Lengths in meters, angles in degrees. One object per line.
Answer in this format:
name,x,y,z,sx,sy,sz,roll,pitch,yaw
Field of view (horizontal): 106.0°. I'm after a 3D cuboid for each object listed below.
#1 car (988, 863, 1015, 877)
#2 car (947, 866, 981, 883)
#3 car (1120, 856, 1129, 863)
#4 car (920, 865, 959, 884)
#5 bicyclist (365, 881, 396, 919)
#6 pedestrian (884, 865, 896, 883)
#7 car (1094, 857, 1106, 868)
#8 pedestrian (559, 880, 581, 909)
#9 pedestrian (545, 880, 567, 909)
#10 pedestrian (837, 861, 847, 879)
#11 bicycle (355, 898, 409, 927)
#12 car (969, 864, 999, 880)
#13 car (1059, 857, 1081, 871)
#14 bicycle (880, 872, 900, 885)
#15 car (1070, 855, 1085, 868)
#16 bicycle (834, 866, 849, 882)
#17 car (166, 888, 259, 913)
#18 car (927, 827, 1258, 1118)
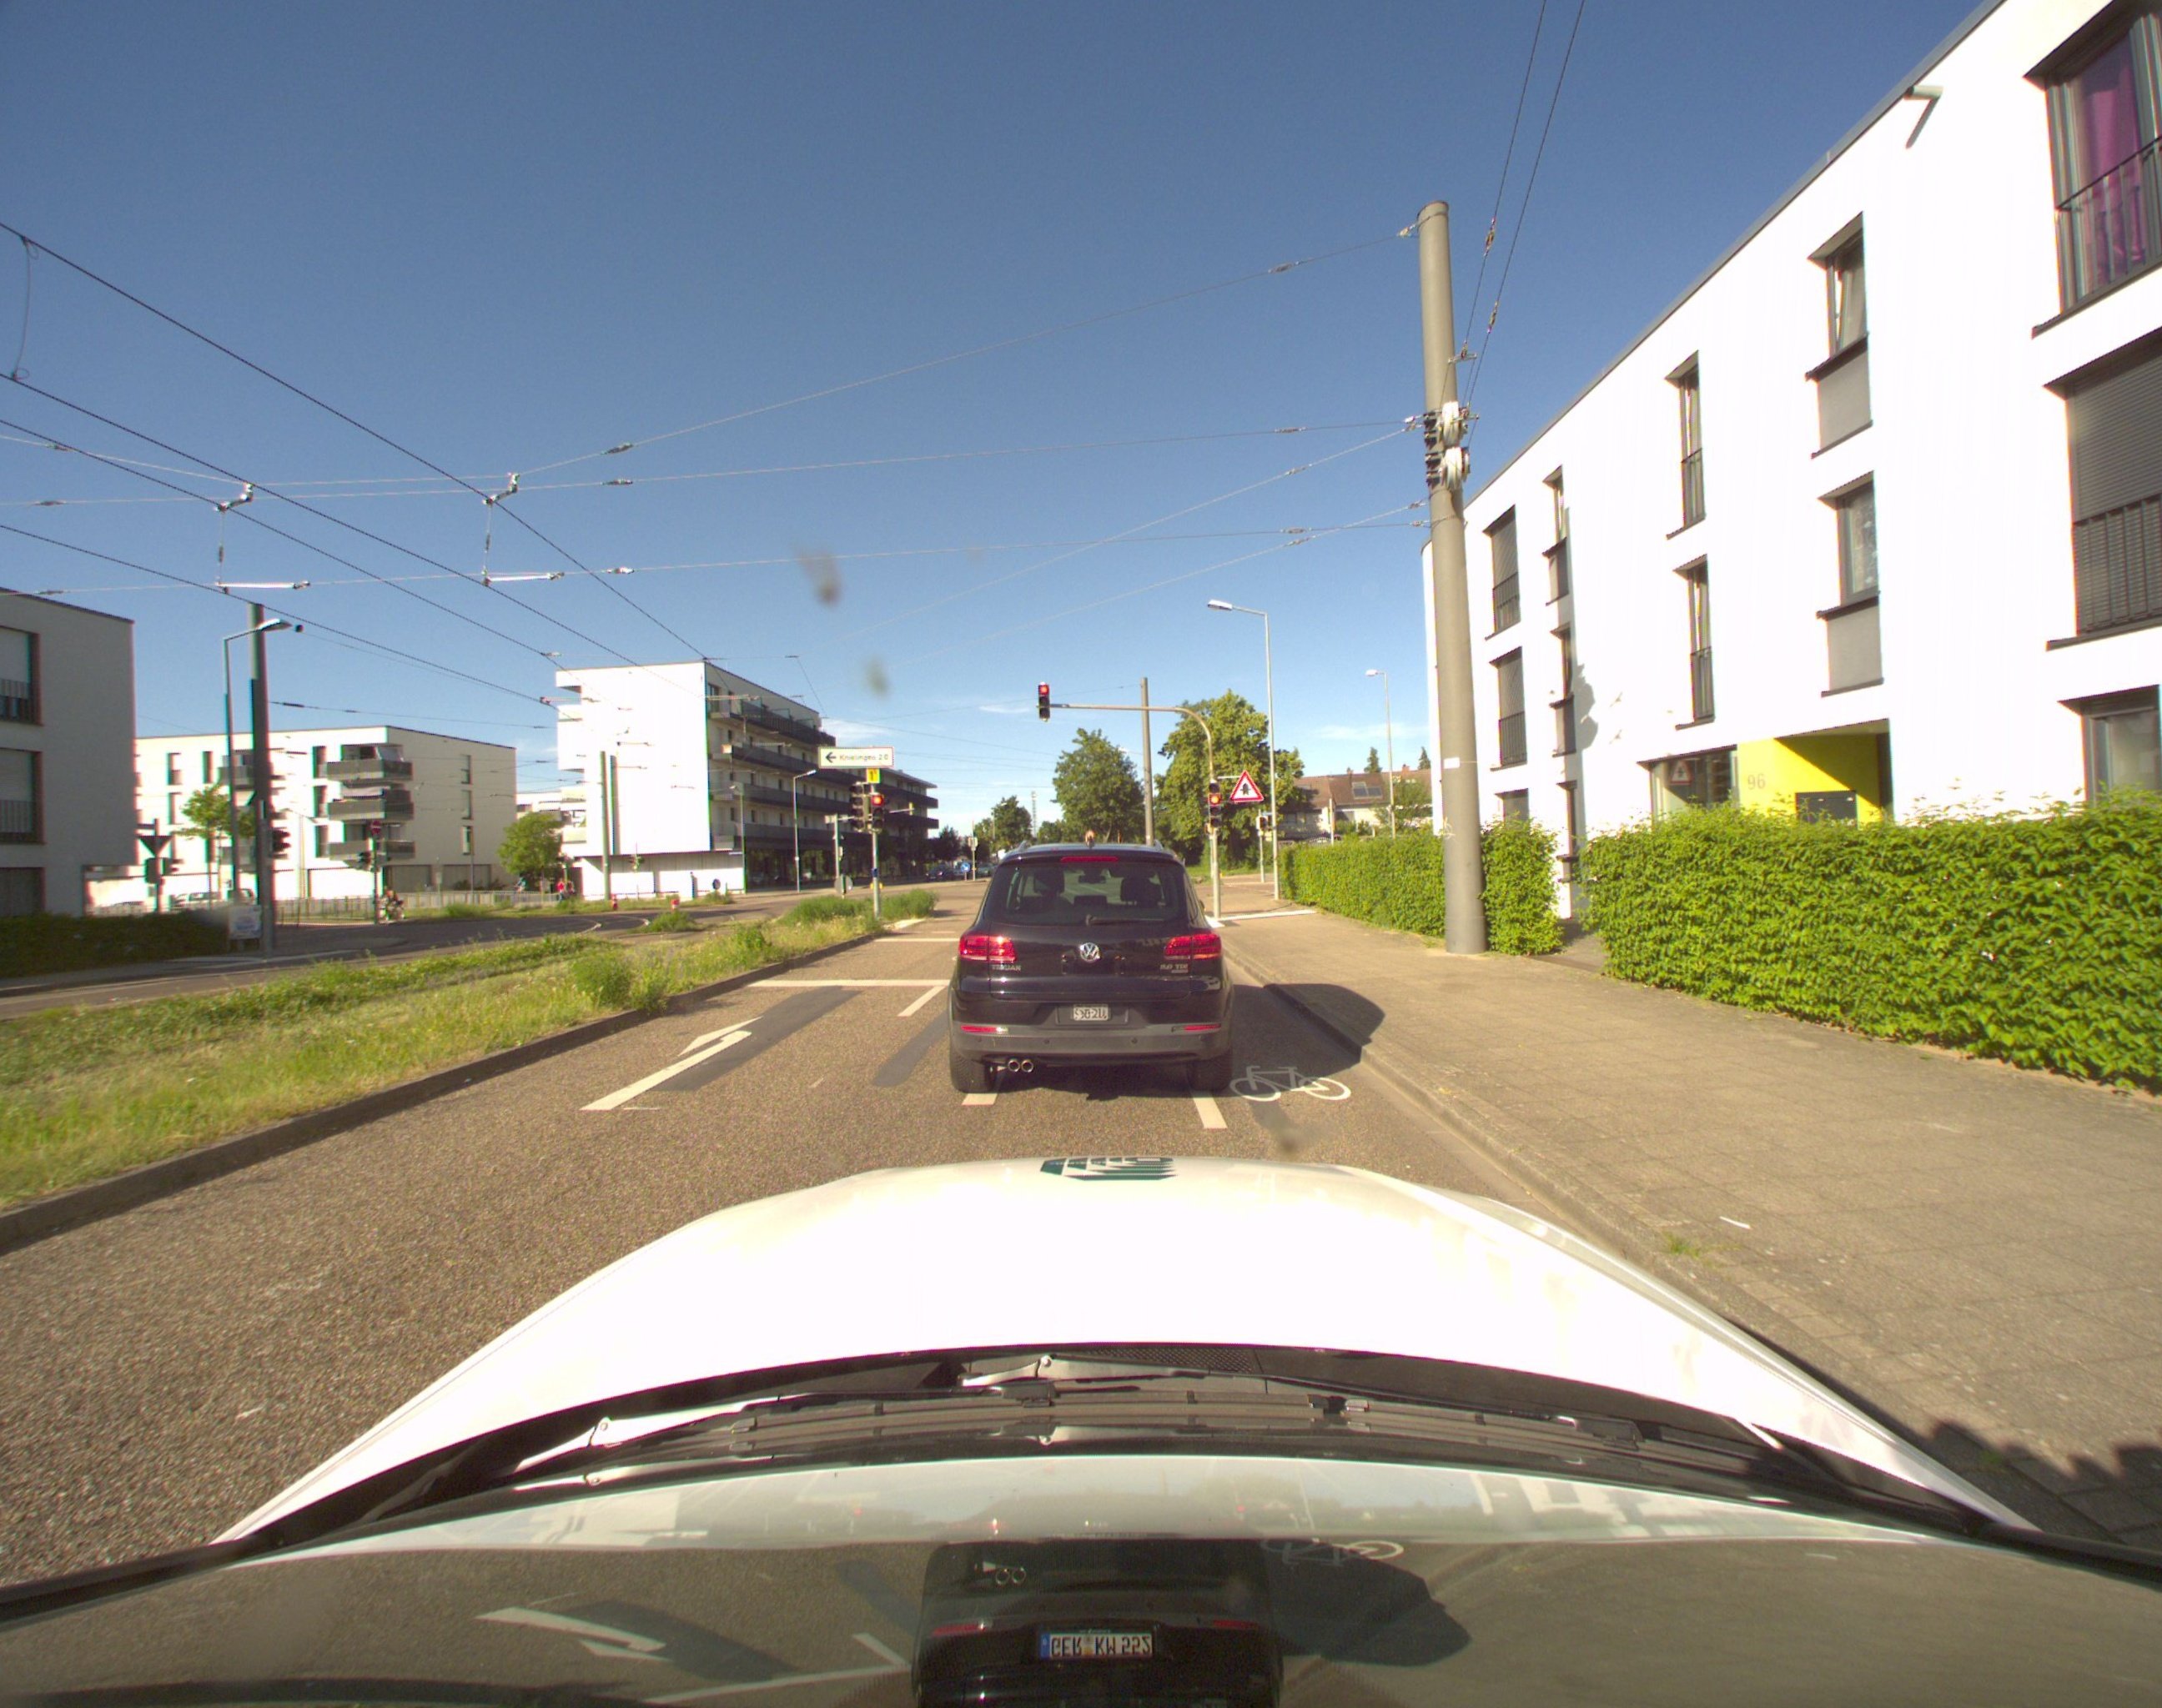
car,-8.879,1.759,91.437,1.981,1.574,4.350,-1,-1,9
car,-11.273,1.963,78.687,1.981,1.574,4.350,-1,-1,9
car,10.932,1.269,203.300,1.987,1.684,4.000,0,-1,0
car,-12.441,1.781,71.892,1.980,1.574,4.353,-1,-1,11
bicyclist,-30.421,1.986,35.377,0.781,1.614,0.640,0,-1,-5
pedestrian,-15.989,1.689,68.127,0.707,1.474,0.956,-1,-1,9
car,3.503,1.550,149.917,1.984,1.836,4.005,0,-1,5
pedestrian,-28.787,2.274,45.909,0.770,1.605,0.741,0,-1,-5
pedestrian,-29.585,2.280,45.896,0.770,1.605,0.741,0,-1,-5
pedestrian,-20.897,1.395,71.153,0.640,1.509,0.596,0,-1,2
bicycle,-30.428,2.520,35.472,0.818,1.124,1.858,0,-1,-4
car,-10.120,1.862,85.428,1.981,1.574,4.350,-1,-1,9
car,-1.297,1.195,96.264,1.852,1.485,4.121,-3,0,9
bicycle,-15.966,2.036,68.101,0.766,0.989,2.438,-1,-1,9
car,-0.495,1.054,114.951,1.855,1.720,3.690,-2,0,4
bicycle,-20.888,1.751,71.109,0.628,1.332,1.914,0,-1,2
car,-58.792,3.136,55.184,4.305,1.574,2.002,0,-1,4
car,0.125,0.688,6.622,1.862,1.637,4.001,0,-1,2
